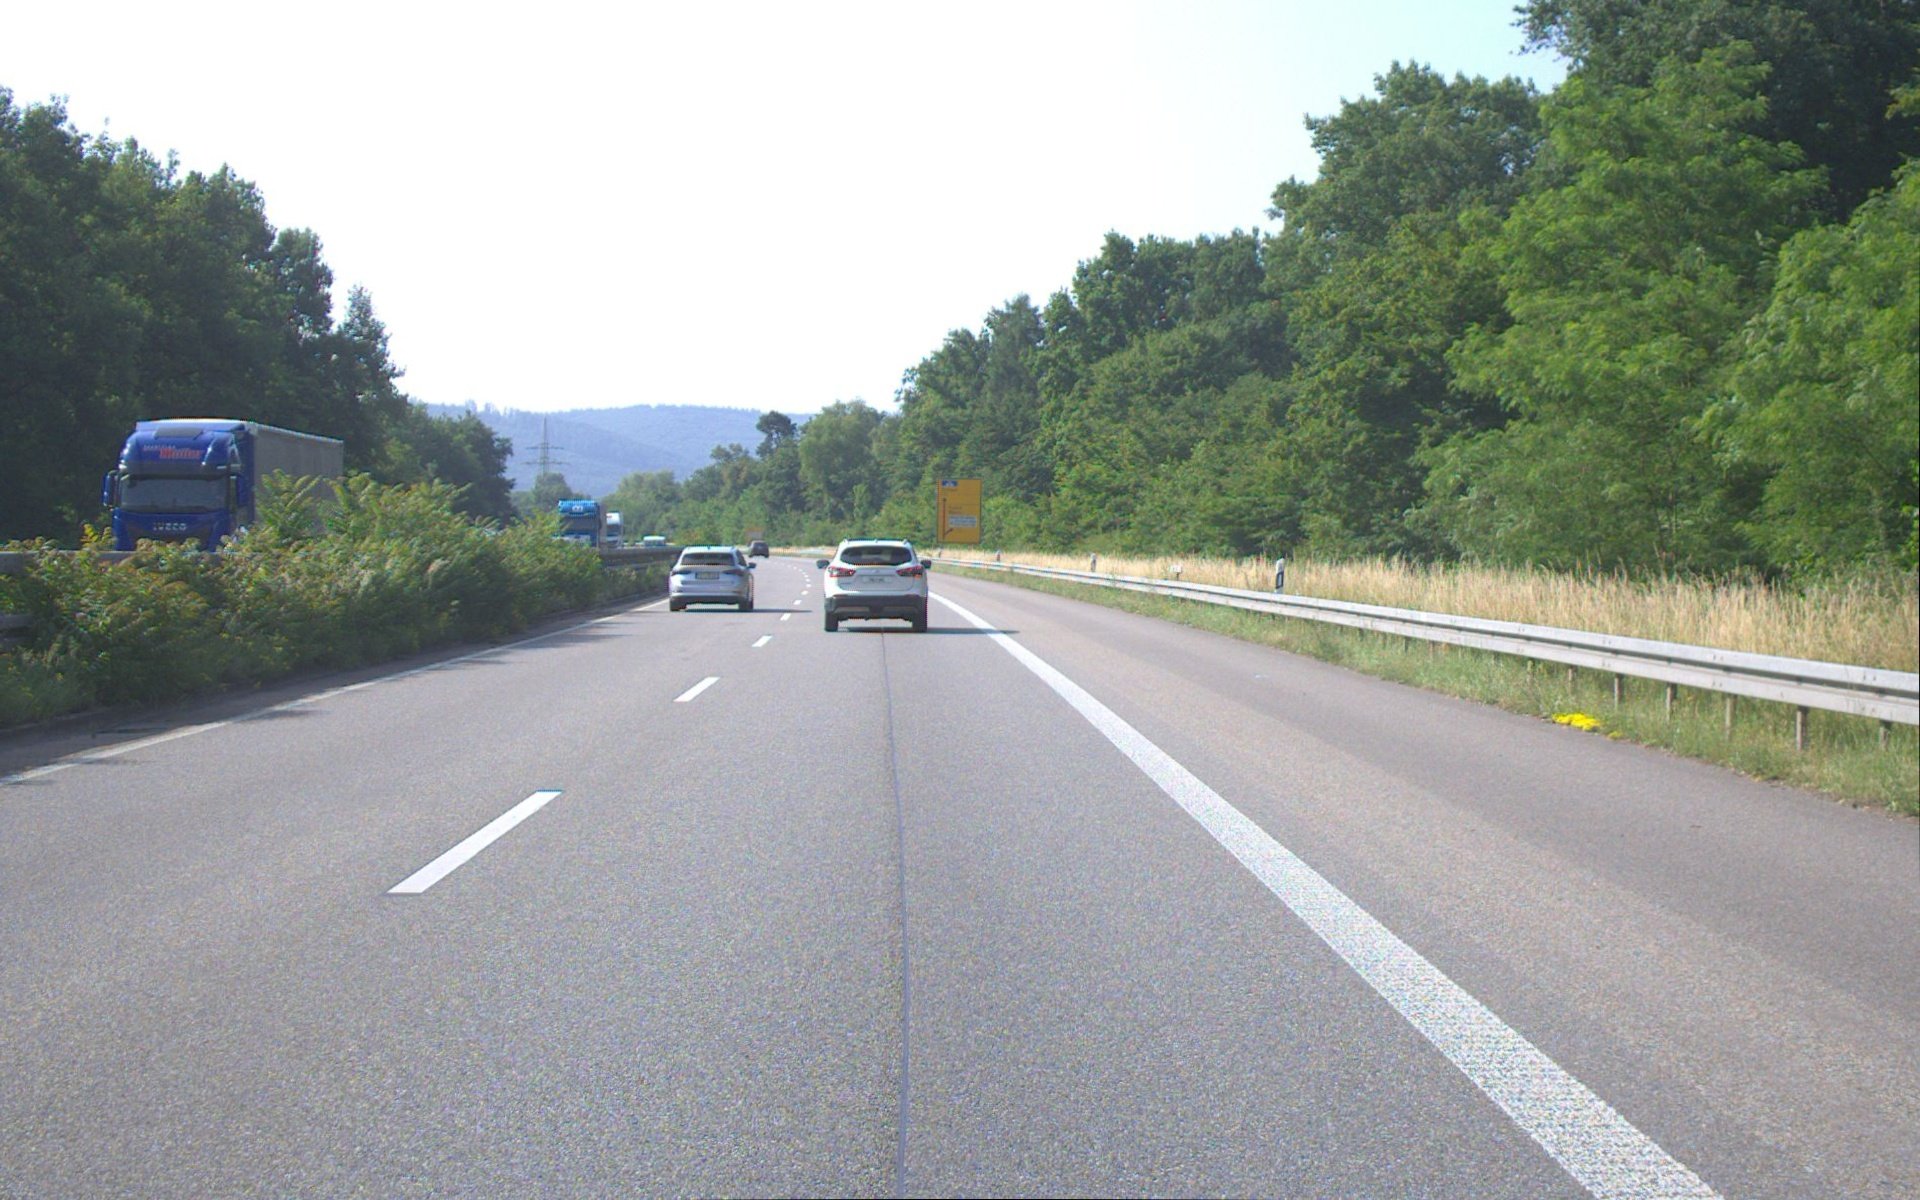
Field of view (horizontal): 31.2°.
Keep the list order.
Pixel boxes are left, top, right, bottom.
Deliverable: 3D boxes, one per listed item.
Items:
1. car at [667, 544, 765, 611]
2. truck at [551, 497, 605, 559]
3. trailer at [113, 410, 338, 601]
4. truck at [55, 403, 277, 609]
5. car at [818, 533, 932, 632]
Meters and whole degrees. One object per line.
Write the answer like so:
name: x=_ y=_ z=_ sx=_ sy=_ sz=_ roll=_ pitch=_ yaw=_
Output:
car: x=-5.510 y=-0.536 z=78.095 sx=1.792 sy=1.433 sz=5.278 roll=0 pitch=1 yaw=1
truck: x=-24.066 y=-4.535 z=217.047 sx=2.801 sy=3.757 sz=8.476 roll=1 pitch=1 yaw=-3
trailer: x=-16.458 y=-2.083 z=77.946 sx=2.831 sy=3.985 sz=11.435 roll=1 pitch=1 yaw=-1
truck: x=-16.339 y=-1.918 z=71.344 sx=2.784 sy=3.985 sz=8.417 roll=1 pitch=1 yaw=-1
car: x=-1.487 y=-0.329 z=60.557 sx=1.873 sy=1.580 sz=4.000 roll=2 pitch=1 yaw=-1
